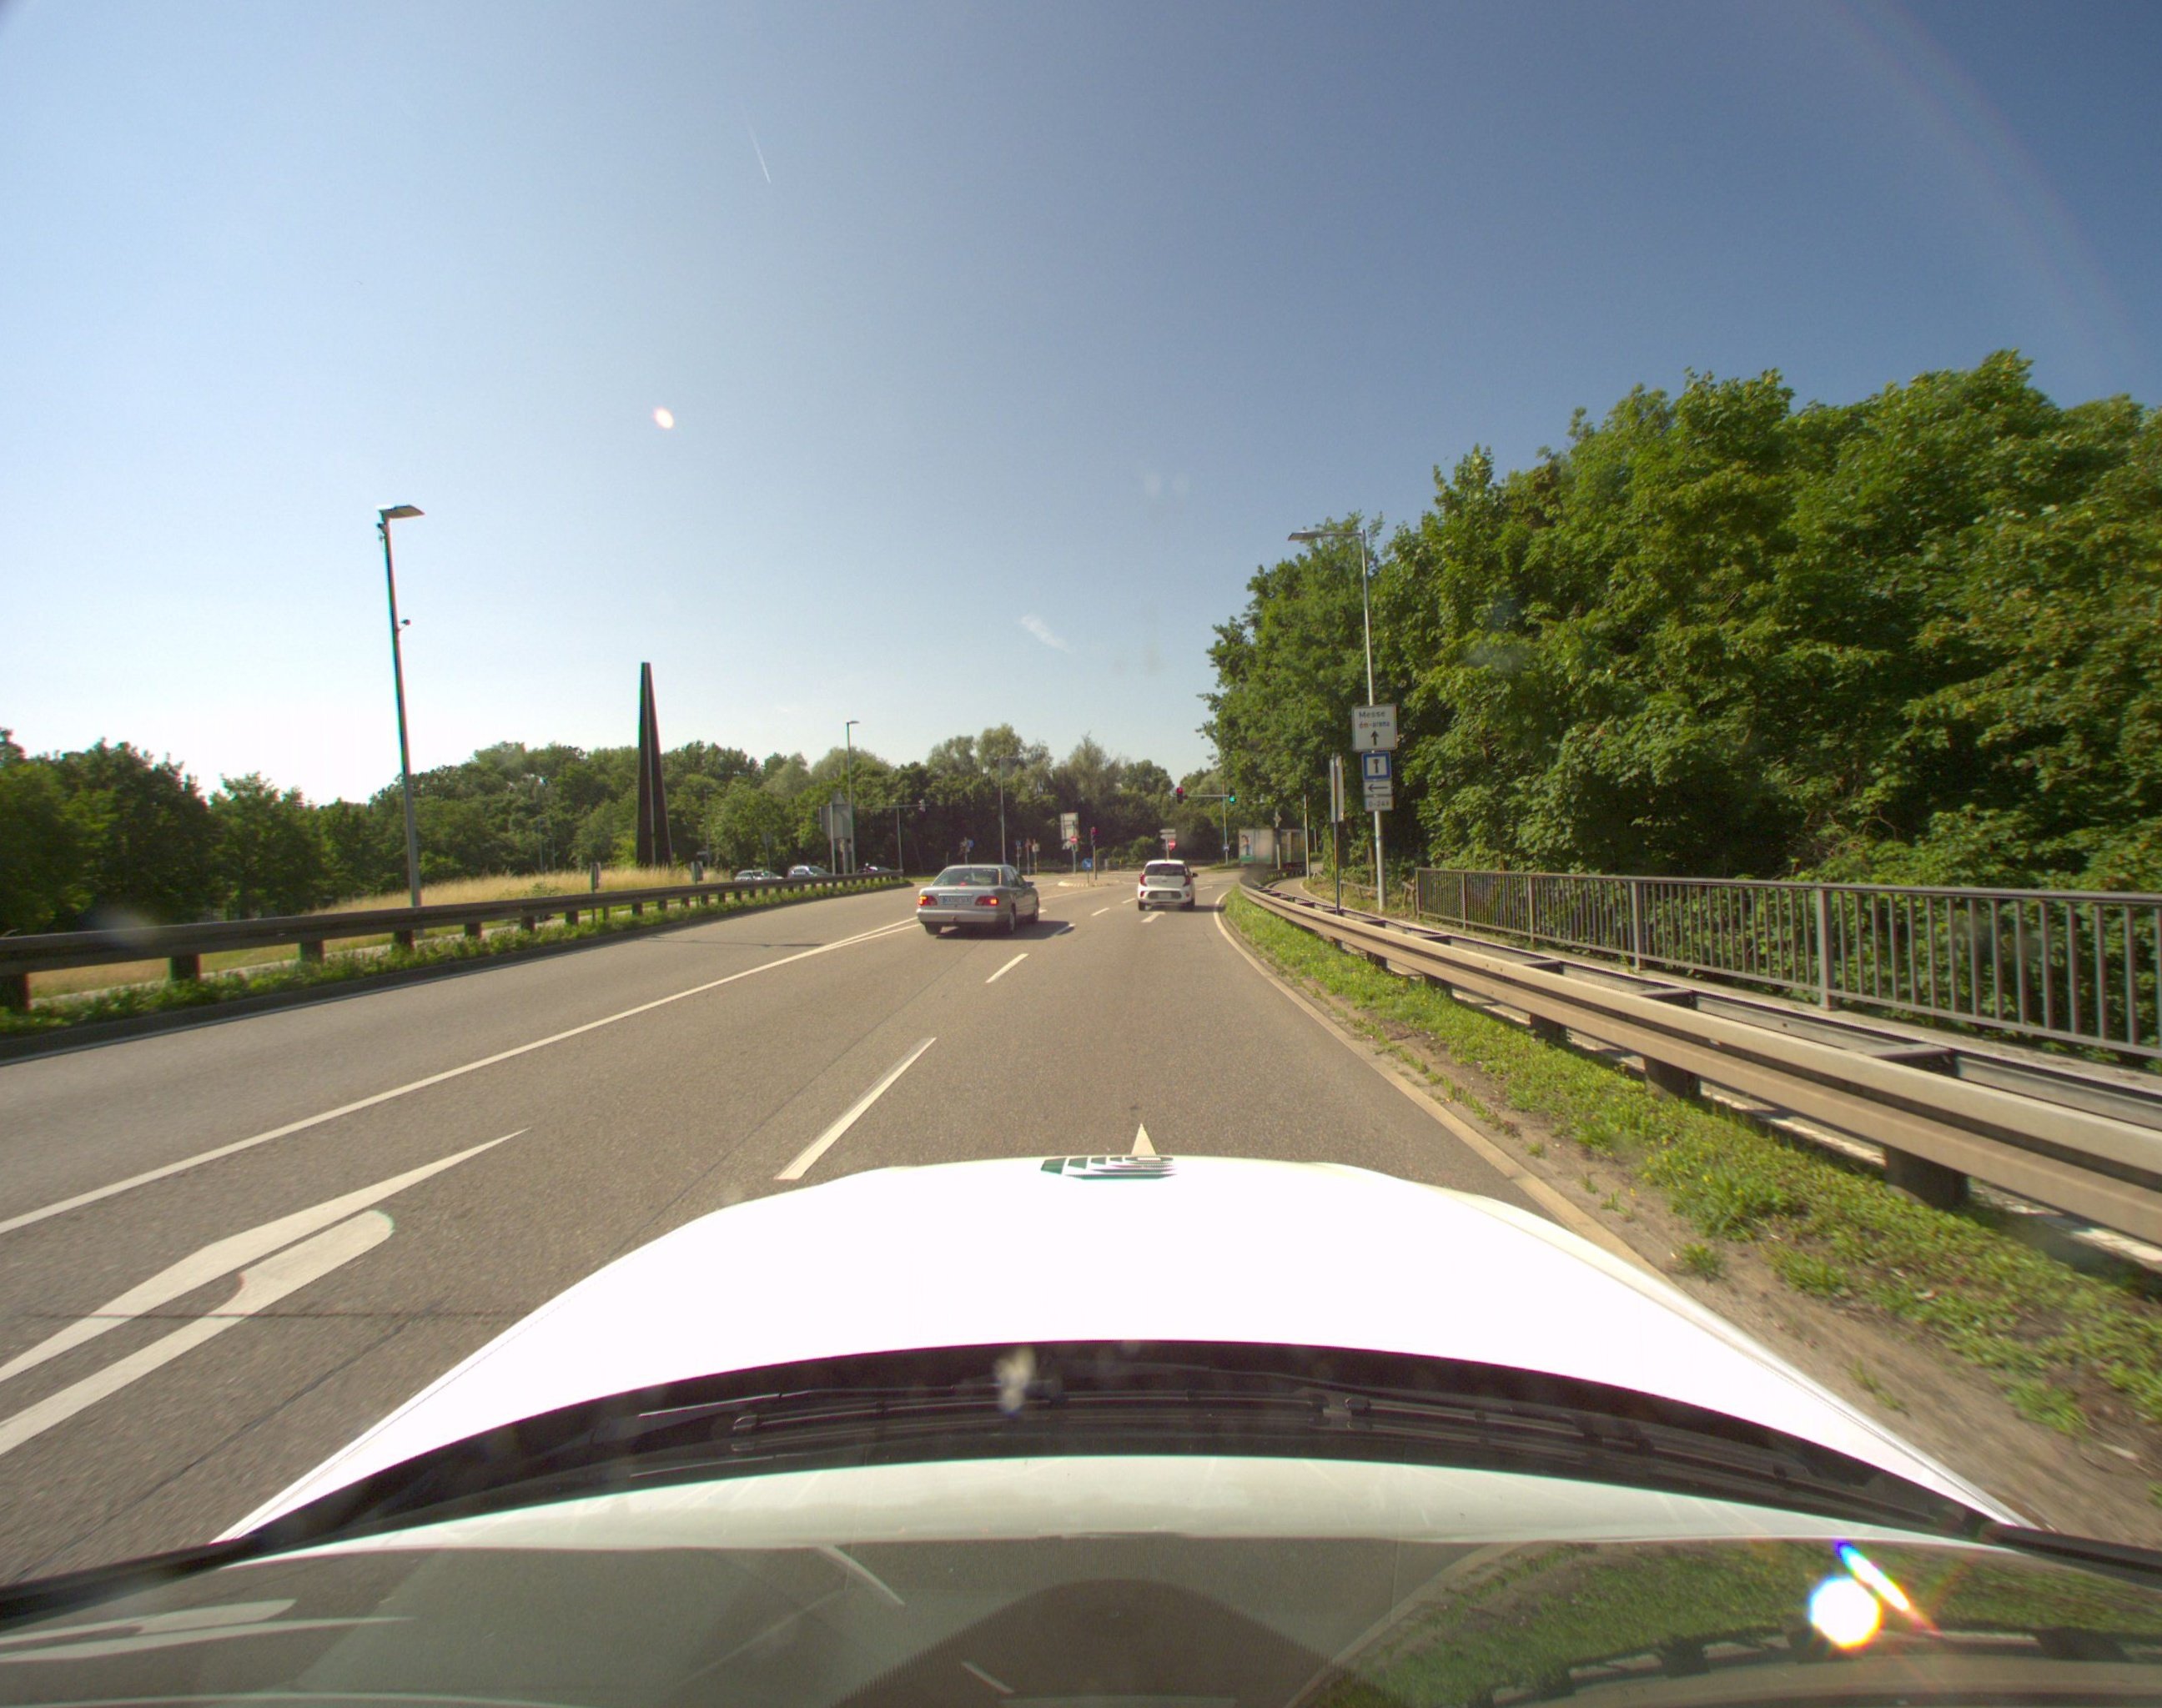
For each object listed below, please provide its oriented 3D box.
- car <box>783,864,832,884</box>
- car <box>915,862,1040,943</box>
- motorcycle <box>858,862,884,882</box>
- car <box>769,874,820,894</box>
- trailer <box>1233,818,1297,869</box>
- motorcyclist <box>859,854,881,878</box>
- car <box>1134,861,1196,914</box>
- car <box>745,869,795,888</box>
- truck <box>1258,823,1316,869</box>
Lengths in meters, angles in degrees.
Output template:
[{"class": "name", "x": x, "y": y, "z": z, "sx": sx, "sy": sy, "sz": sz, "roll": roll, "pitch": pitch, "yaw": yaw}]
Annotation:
[{"class": "car", "x": -23.151, "y": 1.698, "z": 68.812, "sx": 3.948, "sy": 1.389, "sz": 1.778, "roll": -5, "pitch": -5, "yaw": 32}, {"class": "car", "x": -2.083, "y": 0.936, "z": 17.779, "sx": 1.931, "sy": 1.486, "sz": 4.902, "roll": -1, "pitch": 0, "yaw": 2}, {"class": "motorcycle", "x": -17.168, "y": 1.484, "z": 66.475, "sx": 1.957, "sy": 1.529, "sz": 0.905, "roll": -5, "pitch": -3, "yaw": 30}, {"class": "car", "x": -24.441, "y": 2.559, "z": 69.449, "sx": 3.948, "sy": 1.389, "sz": 2.137, "roll": -5, "pitch": -5, "yaw": 32}, {"class": "trailer", "x": 14.659, "y": -0.725, "z": 64.329, "sx": 3.195, "sy": 3.758, "sz": 7.870, "roll": 1, "pitch": 0, "yaw": 26}, {"class": "motorcyclist", "x": -17.215, "y": 1.017, "z": 66.501, "sx": 1.445, "sy": 1.870, "sz": 0.898, "roll": -5, "pitch": -3, "yaw": 30}, {"class": "car", "x": 2.530, "y": 0.979, "z": 25.254, "sx": 1.694, "sy": 1.494, "sz": 4.003, "roll": 0, "pitch": -1, "yaw": 3}, {"class": "car", "x": -27.720, "y": 2.223, "z": 72.579, "sx": 3.948, "sy": 1.389, "sz": 2.137, "roll": -5, "pitch": -5, "yaw": 32}, {"class": "truck", "x": 18.267, "y": -0.637, "z": 71.632, "sx": 3.230, "sy": 3.758, "sz": 8.419, "roll": 1, "pitch": 0, "yaw": 26}]
